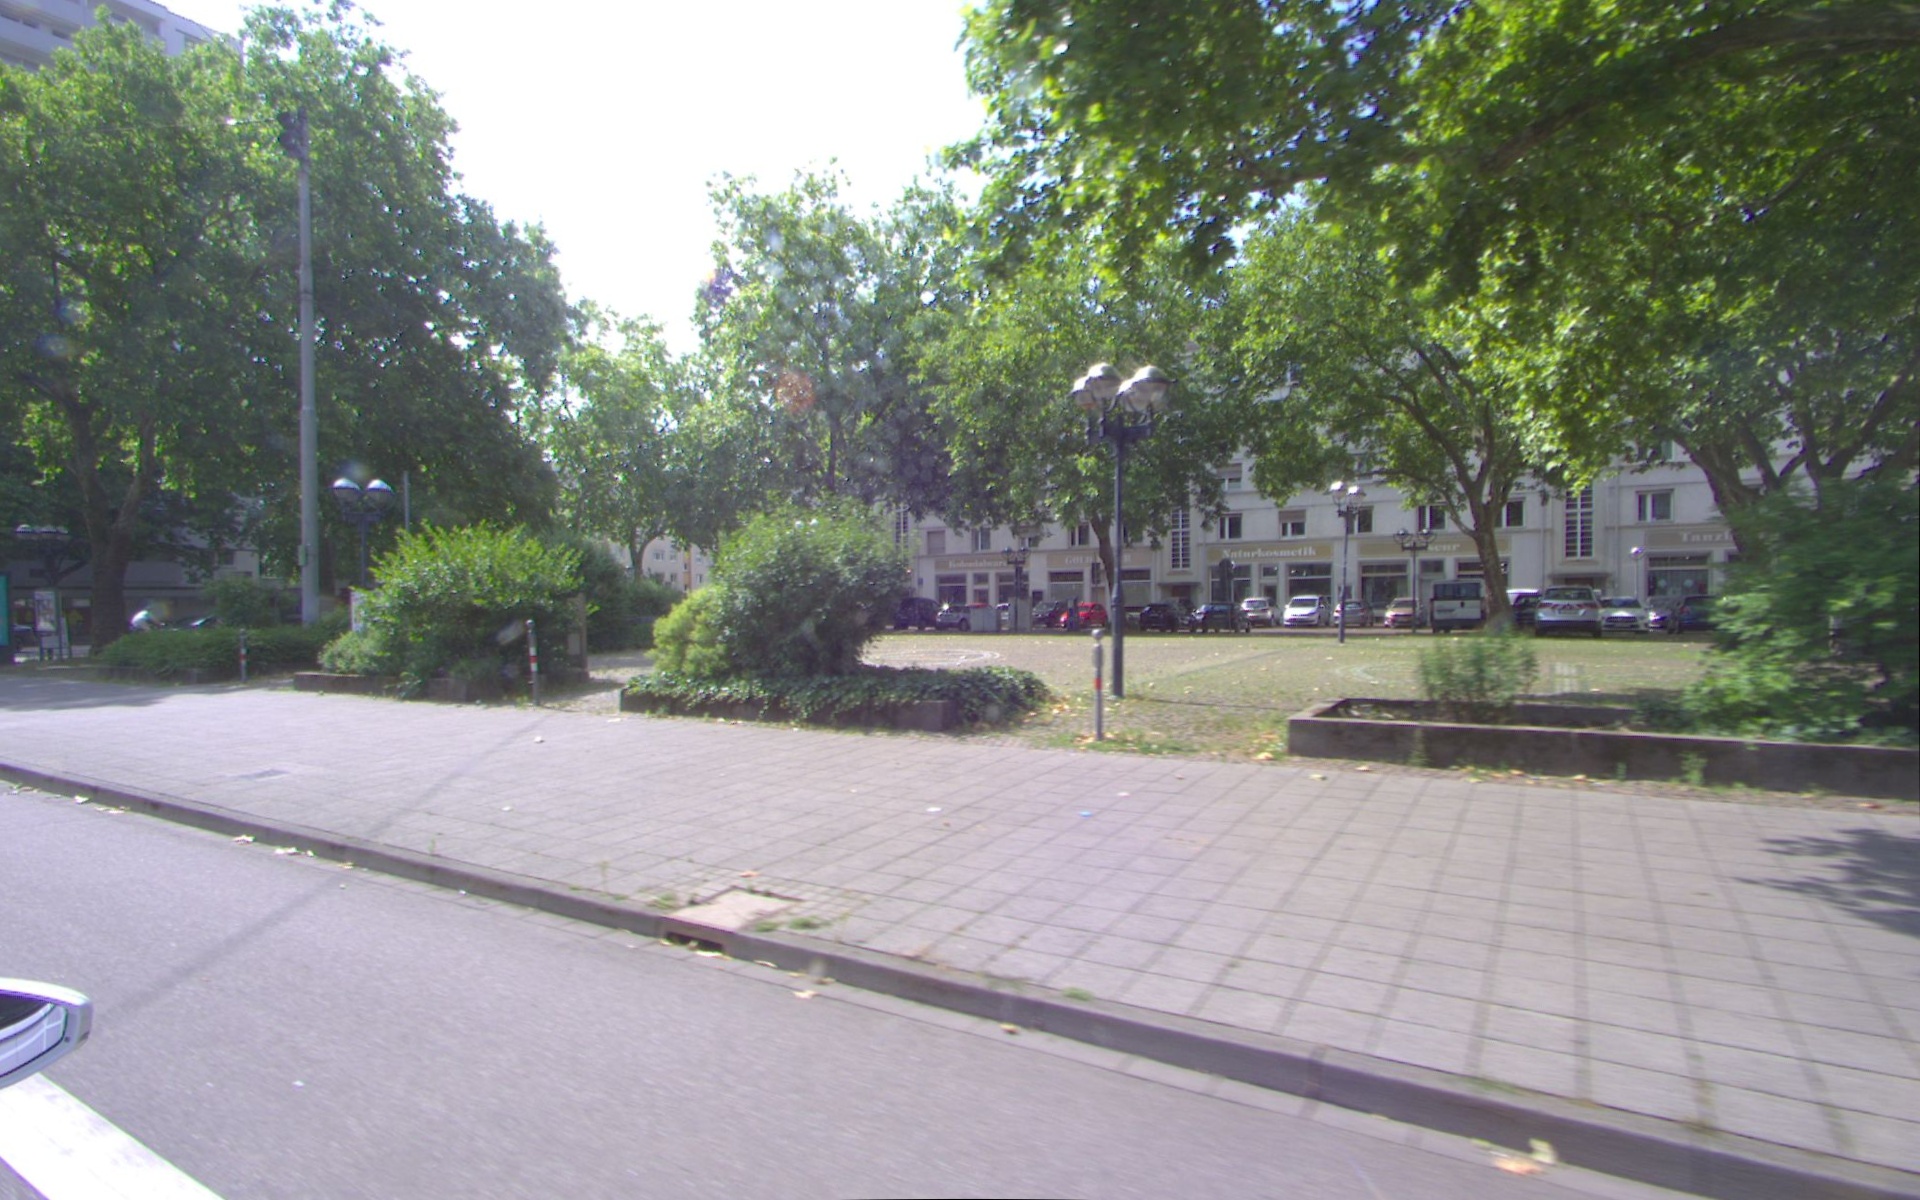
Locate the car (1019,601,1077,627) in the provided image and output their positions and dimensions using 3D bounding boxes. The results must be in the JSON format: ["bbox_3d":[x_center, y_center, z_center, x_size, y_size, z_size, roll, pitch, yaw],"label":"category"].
[{"bbox_3d":[5.585,0.882,63.238,1.958,1.541,4.245,0,0,32],"label":"car"}]

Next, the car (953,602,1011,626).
[{"bbox_3d":[1.491,0.911,66.805,1.958,1.541,4.245,0,0,32],"label":"car"}]

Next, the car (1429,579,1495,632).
[{"bbox_3d":[20.477,0.217,40.763,2.047,2.040,4.245,0,0,32],"label":"car"}]

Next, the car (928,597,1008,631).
[{"bbox_3d":[0.491,0.722,54.831,2.161,1.729,4.668,0,0,34],"label":"car"}]

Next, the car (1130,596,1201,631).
[{"bbox_3d":[9.836,0.611,47.772,1.958,1.541,4.245,0,0,32],"label":"car"}]

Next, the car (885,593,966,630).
[{"bbox_3d":[-1.844,0.623,55.646,2.161,1.955,4.668,0,0,34],"label":"car"}]

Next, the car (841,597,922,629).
[{"bbox_3d":[-4.394,0.722,56.712,2.161,1.729,4.668,0,0,34],"label":"car"}]

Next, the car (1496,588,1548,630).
[{"bbox_3d":[27.767,0.412,49.384,2.008,1.955,4.671,0,0,32],"label":"car"}]

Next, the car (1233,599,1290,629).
[{"bbox_3d":[16.828,0.750,55.772,1.958,1.570,4.415,0,0,32],"label":"car"}]

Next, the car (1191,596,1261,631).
[{"bbox_3d":[12.319,0.604,46.269,1.958,1.541,4.245,0,0,32],"label":"car"}]

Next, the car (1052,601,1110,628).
[{"bbox_3d":[7.490,0.867,61.679,1.958,1.541,4.245,0,0,32],"label":"car"}]

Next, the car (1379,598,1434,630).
[{"bbox_3d":[23.273,0.683,52.074,2.008,1.570,4.671,0,0,32],"label":"car"}]

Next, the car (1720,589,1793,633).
[{"bbox_3d":[35.050,0.451,44.194,2.161,1.828,4.668,0,0,34],"label":"car"}]

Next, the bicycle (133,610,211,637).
[{"bbox_3d":[-31.909,0.934,40.582,0.883,1.062,2.299,0,0,27],"label":"bicycle"}]

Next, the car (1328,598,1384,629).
[{"bbox_3d":[21.146,0.700,53.385,1.958,1.570,4.671,0,0,32],"label":"car"}]

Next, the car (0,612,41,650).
[{"bbox_3d":[-37.530,1.198,37.497,1.674,1.409,4.493,0,0,9],"label":"car"}]

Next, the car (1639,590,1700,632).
[{"bbox_3d":[32.697,0.481,46.261,2.161,1.828,4.730,0,0,34],"label":"car"}]

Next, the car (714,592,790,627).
[{"bbox_3d":[-12.740,0.555,61.612,2.048,2.040,4.403,0,0,33],"label":"car"}]

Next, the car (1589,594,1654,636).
[{"bbox_3d":[24.598,0.523,37.347,1.931,1.440,4.156,0,0,32],"label":"car"}]

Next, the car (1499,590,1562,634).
[{"bbox_3d":[22.433,0.438,39.308,1.971,1.615,4.245,0,0,32],"label":"car"}]

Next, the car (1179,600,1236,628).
[{"bbox_3d":[14.193,0.785,57.247,1.958,1.541,4.245,0,0,32],"label":"car"}]

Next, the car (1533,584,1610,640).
[{"bbox_3d":[19.451,0.338,31.841,1.971,1.658,4.143,0,0,32],"label":"car"}]

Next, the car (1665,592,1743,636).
[{"bbox_3d":[27.540,0.480,37.177,1.971,1.544,4.143,0,0,32],"label":"car"}]

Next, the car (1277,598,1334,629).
[{"bbox_3d":[18.794,0.710,54.344,1.958,1.570,4.671,0,0,32],"label":"car"}]

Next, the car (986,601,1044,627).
[{"bbox_3d":[3.582,0.890,65.018,1.958,1.541,4.245,0,0,32],"label":"car"}]

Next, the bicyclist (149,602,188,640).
[{"bbox_3d":[-31.979,0.832,40.457,0.768,1.532,0.997,0,1,27],"label":"bicyclist"}]
